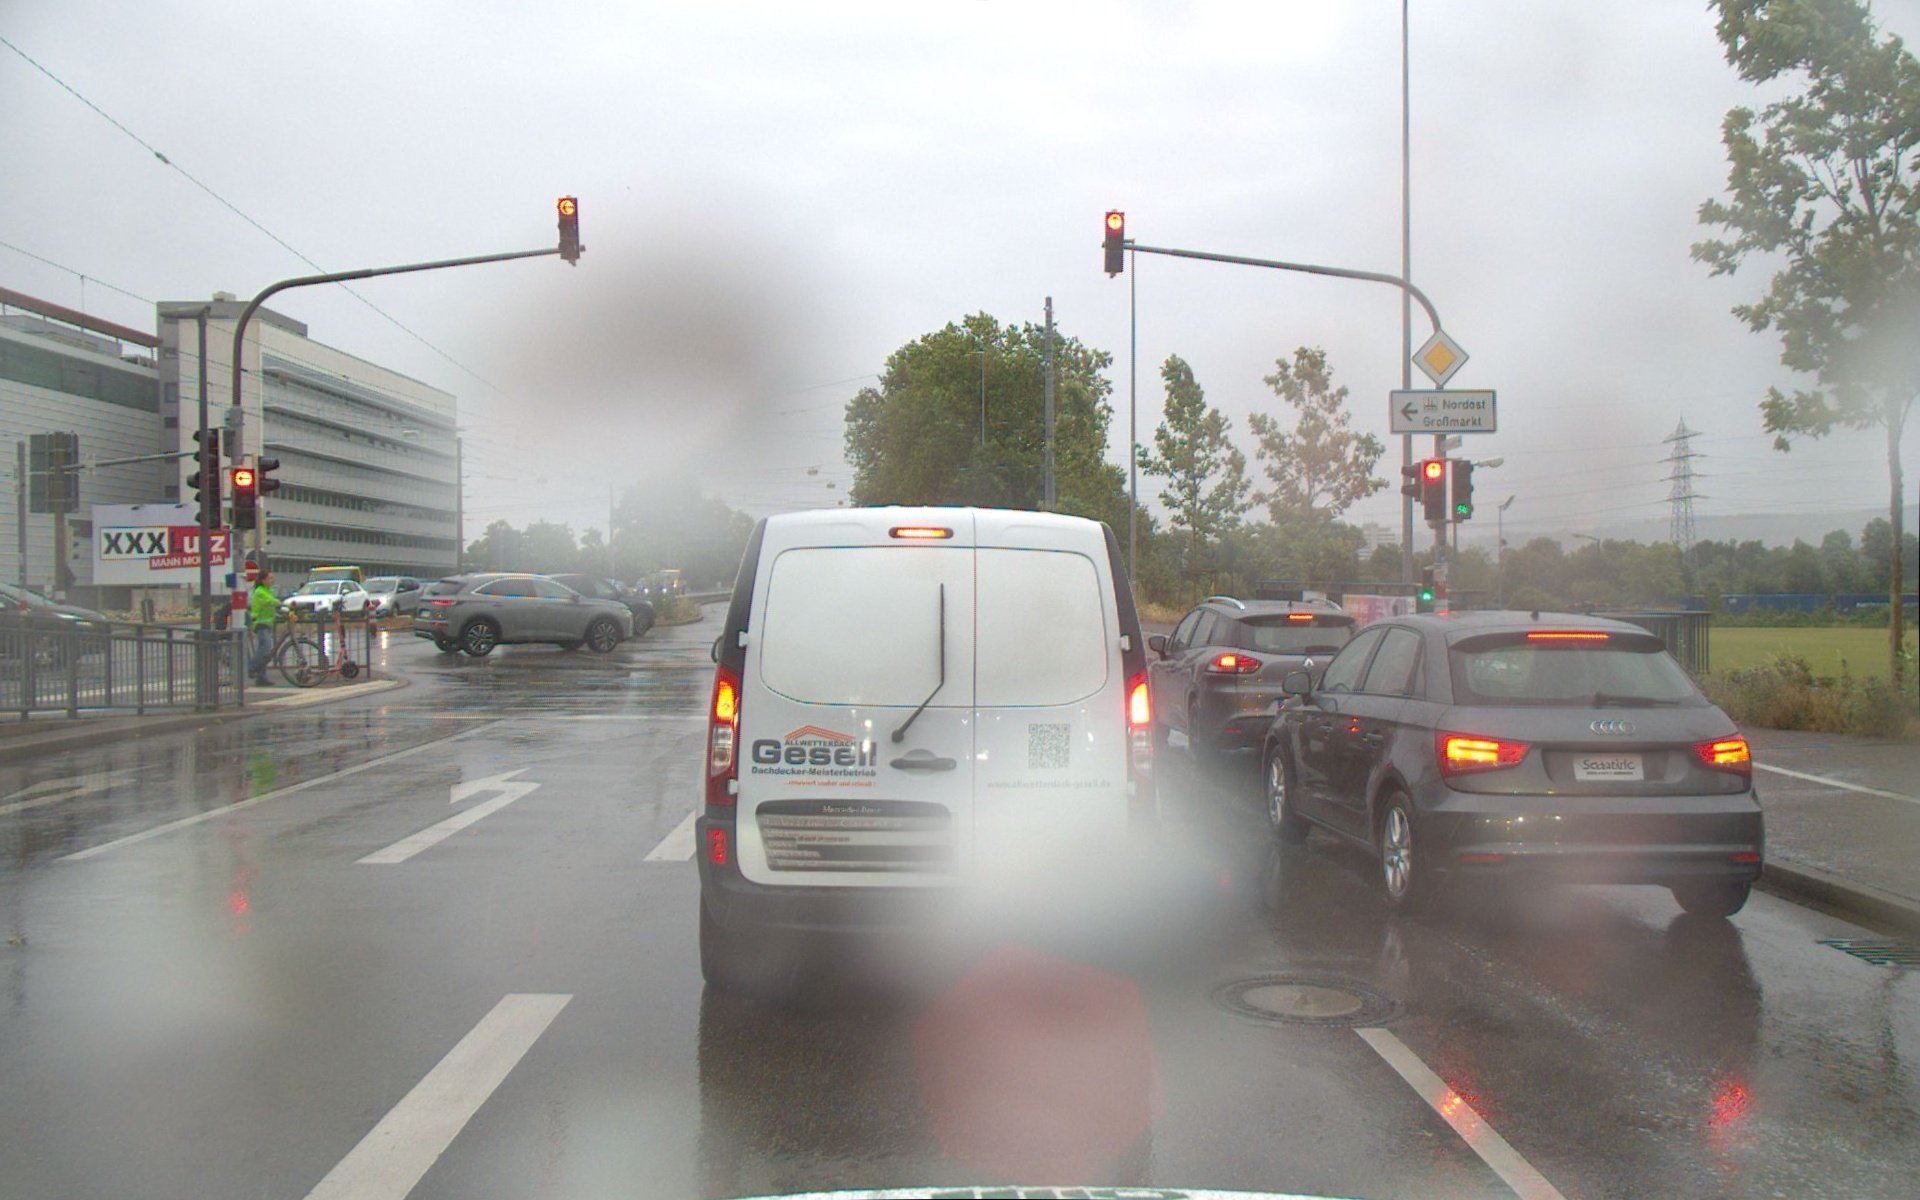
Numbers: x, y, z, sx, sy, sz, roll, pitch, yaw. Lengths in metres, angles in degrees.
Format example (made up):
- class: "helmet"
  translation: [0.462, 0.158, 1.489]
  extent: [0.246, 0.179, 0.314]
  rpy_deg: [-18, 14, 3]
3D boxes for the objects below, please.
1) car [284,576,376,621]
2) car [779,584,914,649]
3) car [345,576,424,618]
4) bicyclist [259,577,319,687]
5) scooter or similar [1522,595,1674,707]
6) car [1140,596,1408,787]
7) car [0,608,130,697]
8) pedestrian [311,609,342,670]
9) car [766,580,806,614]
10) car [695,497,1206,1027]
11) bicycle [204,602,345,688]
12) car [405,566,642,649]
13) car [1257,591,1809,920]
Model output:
- class: "car"
  translation: [-21.601, -0.022, 56.842]
  extent: [1.676, 1.451, 3.808]
  rpy_deg: [2, -1, -1]
- class: "car"
  translation: [-2.884, 0.461, 42.923]
  extent: [1.778, 1.528, 4.272]
  rpy_deg: [2, -1, 22]
- class: "car"
  translation: [-21.779, -0.091, 62.746]
  extent: [1.676, 1.451, 3.808]
  rpy_deg: [2, -1, -1]
- class: "bicyclist"
  translation: [-9.499, 0.449, 23.402]
  extent: [0.600, 1.517, 0.591]
  rpy_deg: [2, 0, -41]
- class: "scooter or similar"
  translation: [7.624, 0.564, 19.938]
  extent: [0.676, 1.232, 3.020]
  rpy_deg: [0, 0, 0]
- class: "car"
  translation: [2.793, 0.751, 15.527]
  extent: [1.650, 1.534, 3.919]
  rpy_deg: [1, 0, -2]
- class: "car"
  translation: [-17.219, 0.885, 29.661]
  extent: [3.847, 1.422, 1.530]
  rpy_deg: [4, 0, -15]
- class: "pedestrian"
  translation: [-9.710, 0.598, 25.365]
  extent: [0.309, 0.913, 0.380]
  rpy_deg: [2, 0, -3]
- class: "car"
  translation: [-9.370, -0.131, 89.319]
  extent: [1.909, 1.691, 4.460]
  rpy_deg: [2, -1, -4]
- class: "car"
  translation: [-0.173, 0.517, 7.700]
  extent: [1.719, 1.780, 4.166]
  rpy_deg: [1, 1, -4]
- class: "bicycle"
  translation: [-9.637, 0.624, 23.287]
  extent: [1.745, 1.157, 0.512]
  rpy_deg: [1, 0, -43]
- class: "car"
  translation: [-9.063, 0.178, 34.538]
  extent: [4.459, 1.528, 1.692]
  rpy_deg: [3, -1, -36]
- class: "car"
  translation: [2.803, 0.698, 8.952]
  extent: [1.565, 1.390, 3.628]
  rpy_deg: [-1, -1, -3]
